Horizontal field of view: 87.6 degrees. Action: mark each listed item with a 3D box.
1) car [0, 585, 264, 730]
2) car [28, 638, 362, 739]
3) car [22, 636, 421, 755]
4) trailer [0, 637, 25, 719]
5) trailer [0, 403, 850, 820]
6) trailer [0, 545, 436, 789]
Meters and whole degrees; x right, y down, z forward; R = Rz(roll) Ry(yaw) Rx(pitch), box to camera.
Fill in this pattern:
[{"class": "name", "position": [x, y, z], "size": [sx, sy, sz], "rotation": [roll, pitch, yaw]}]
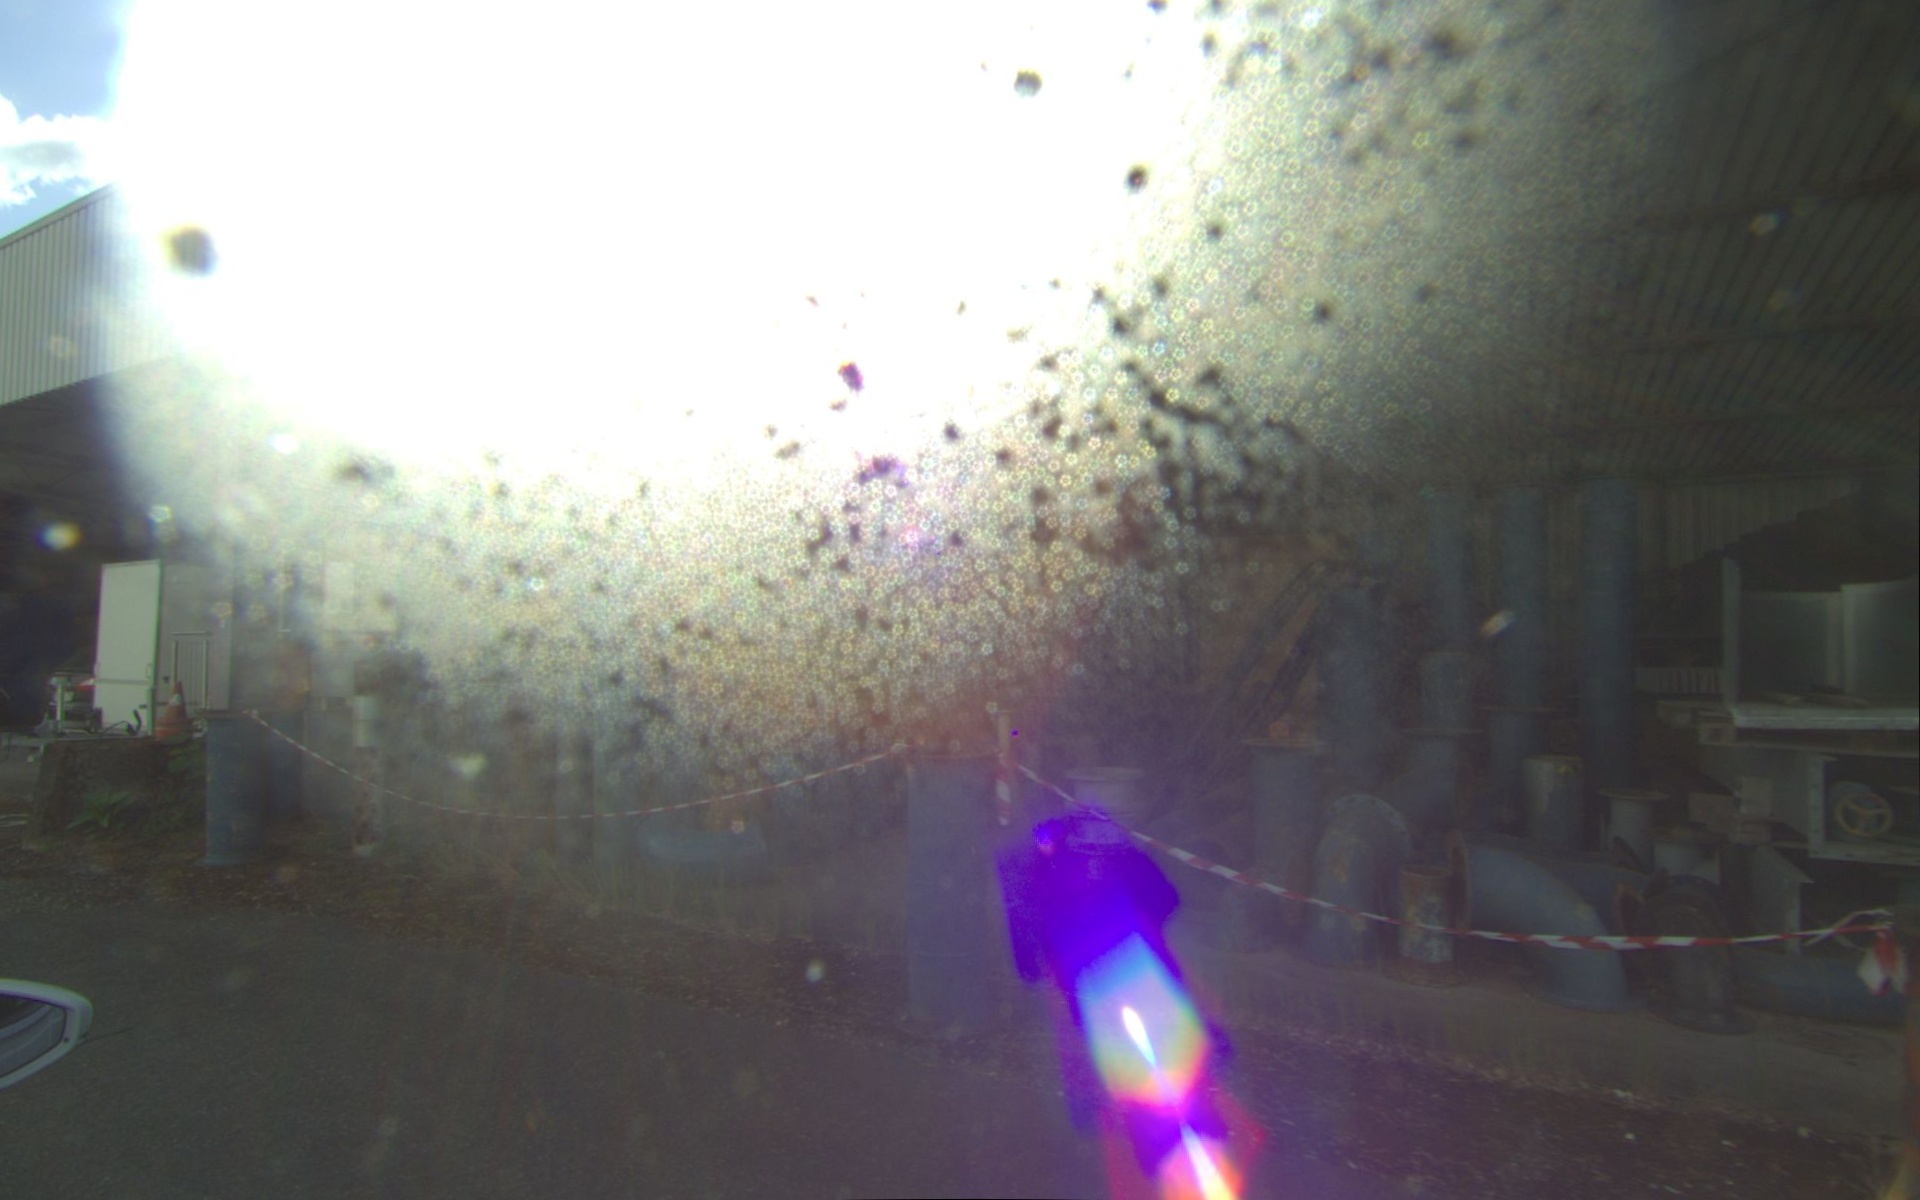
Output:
[{"class": "car", "position": [-15.763, 1.011, 17.780], "size": [2.052, 2.325, 5.215], "rotation": [-1, -3, 28]}, {"class": "car", "position": [-12.660, 1.379, 16.876], "size": [1.822, 1.472, 4.105], "rotation": [-1, -2, 29]}, {"class": "car", "position": [-10.466, 1.266, 14.618], "size": [1.835, 1.451, 4.345], "rotation": [-1, -2, 26]}, {"class": "trailer", "position": [-18.534, 1.417, 18.053], "size": [1.618, 1.480, 2.091], "rotation": [-2, -3, 32]}, {"class": "trailer", "position": [-5.529, 0.274, 13.147], "size": [2.635, 3.337, 10.284], "rotation": [-1, -2, 30]}, {"class": "trailer", "position": [-8.962, 0.735, 12.054], "size": [1.663, 2.365, 4.538], "rotation": [-1, -2, 30]}]
